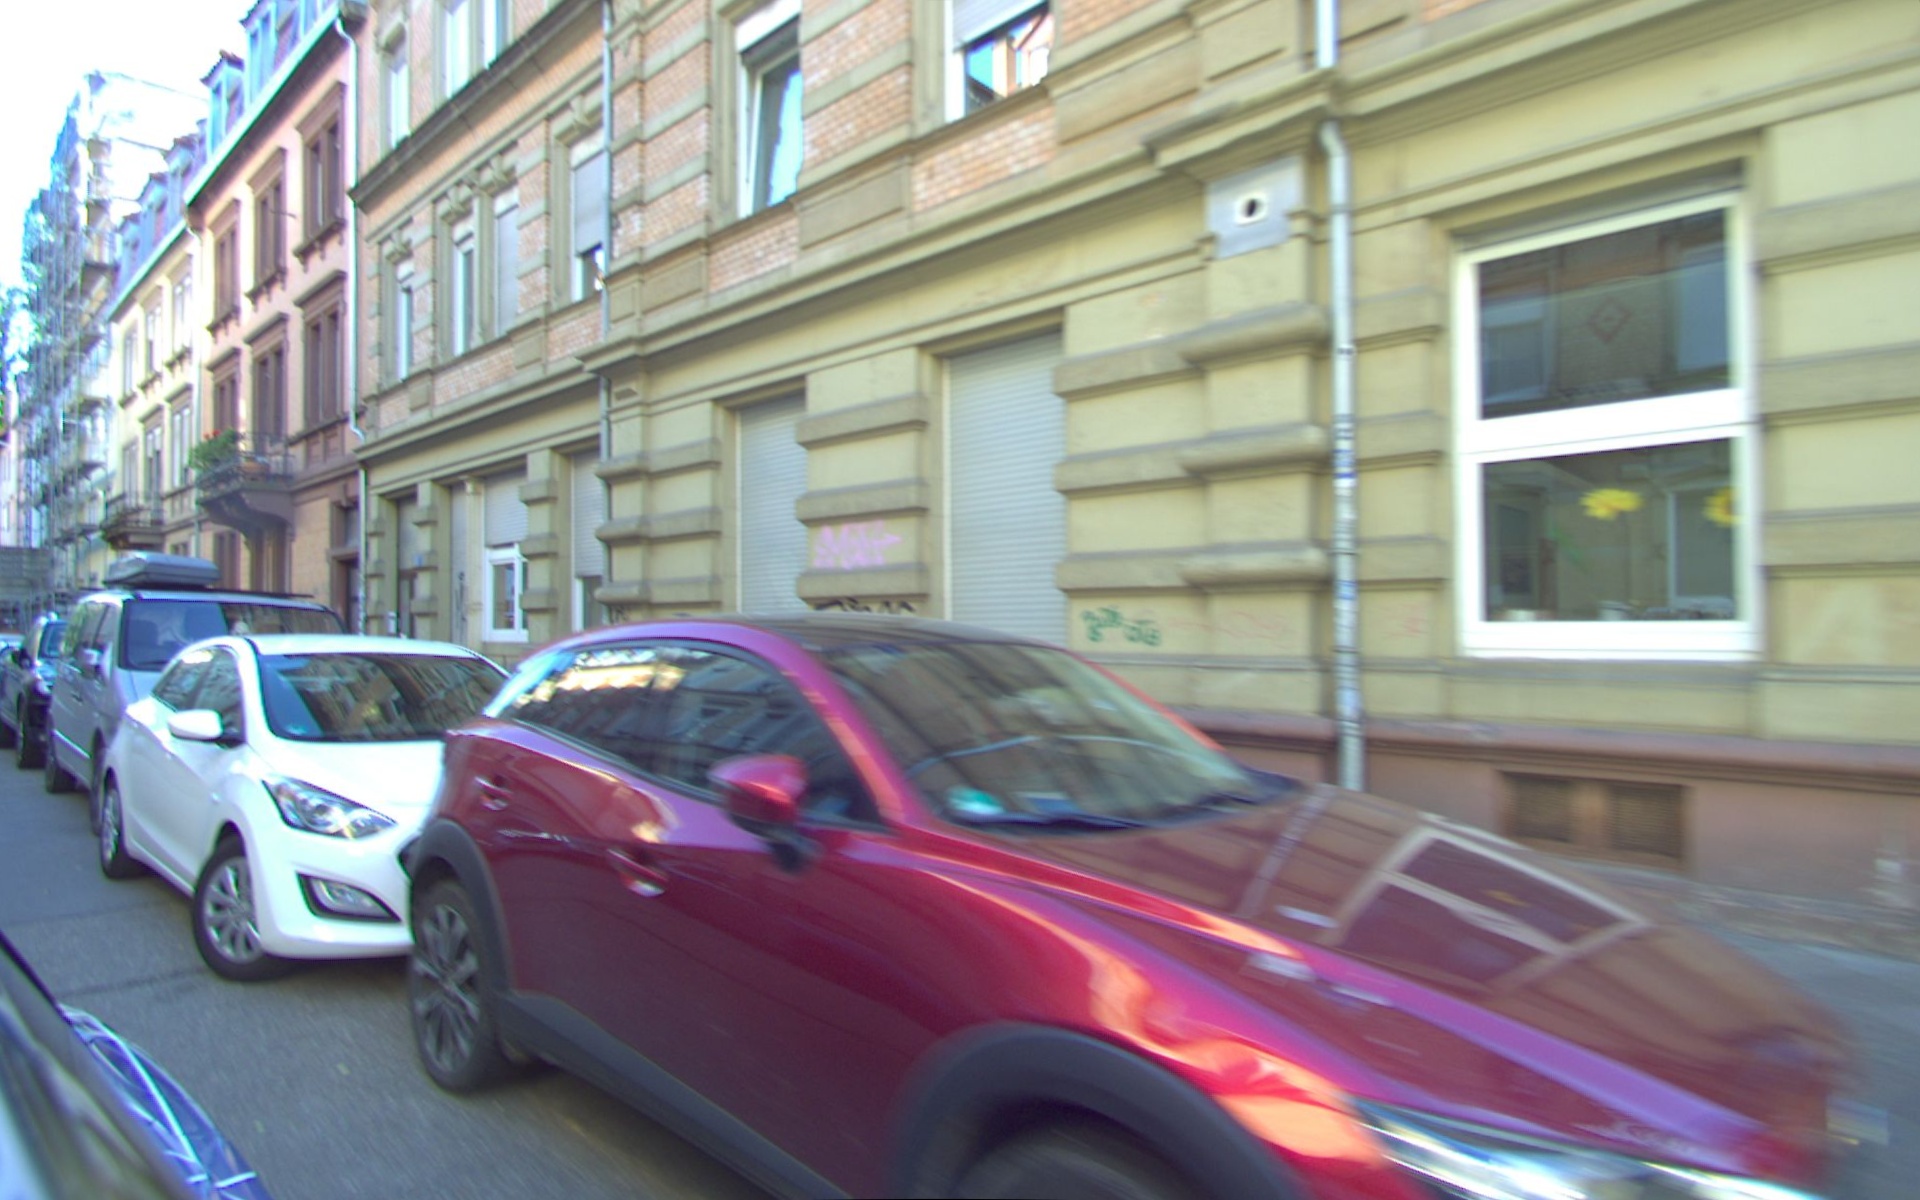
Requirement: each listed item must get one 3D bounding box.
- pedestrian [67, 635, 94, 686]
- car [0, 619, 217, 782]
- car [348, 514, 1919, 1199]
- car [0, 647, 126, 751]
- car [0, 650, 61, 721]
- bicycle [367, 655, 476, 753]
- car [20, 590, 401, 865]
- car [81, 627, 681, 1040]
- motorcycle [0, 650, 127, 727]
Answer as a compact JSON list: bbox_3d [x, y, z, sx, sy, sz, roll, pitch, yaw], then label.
[{"bbox_3d":[-23.020,1.566,26.486,0.647,1.294,0.445,-2,-1,42],"label":"pedestrian"},{"bbox_3d":[-10.898,1.116,12.666,4.608,1.636,1.768,-2,-1,43],"label":"car"},{"bbox_3d":[-0.020,0.729,2.724,4.089,1.492,1.704,-2,-1,42],"label":"car"},{"bbox_3d":[-14.481,1.467,15.790,3.999,1.324,1.680,-2,1,42],"label":"car"},{"bbox_3d":[-20.950,1.802,21.939,3.998,1.430,1.656,-2,-4,41],"label":"car"},{"bbox_3d":[-6.957,1.297,13.040,1.785,1.134,0.660,-3,-1,43],"label":"bicycle"},{"bbox_3d":[-6.751,0.898,8.894,4.607,1.798,1.872,-2,-1,43],"label":"car"},{"bbox_3d":[-3.355,0.909,5.530,3.872,1.431,1.657,-2,-1,41],"label":"car"},{"bbox_3d":[-17.054,1.641,18.927,2.166,1.370,0.844,1,-4,0],"label":"motorcycle"}]
